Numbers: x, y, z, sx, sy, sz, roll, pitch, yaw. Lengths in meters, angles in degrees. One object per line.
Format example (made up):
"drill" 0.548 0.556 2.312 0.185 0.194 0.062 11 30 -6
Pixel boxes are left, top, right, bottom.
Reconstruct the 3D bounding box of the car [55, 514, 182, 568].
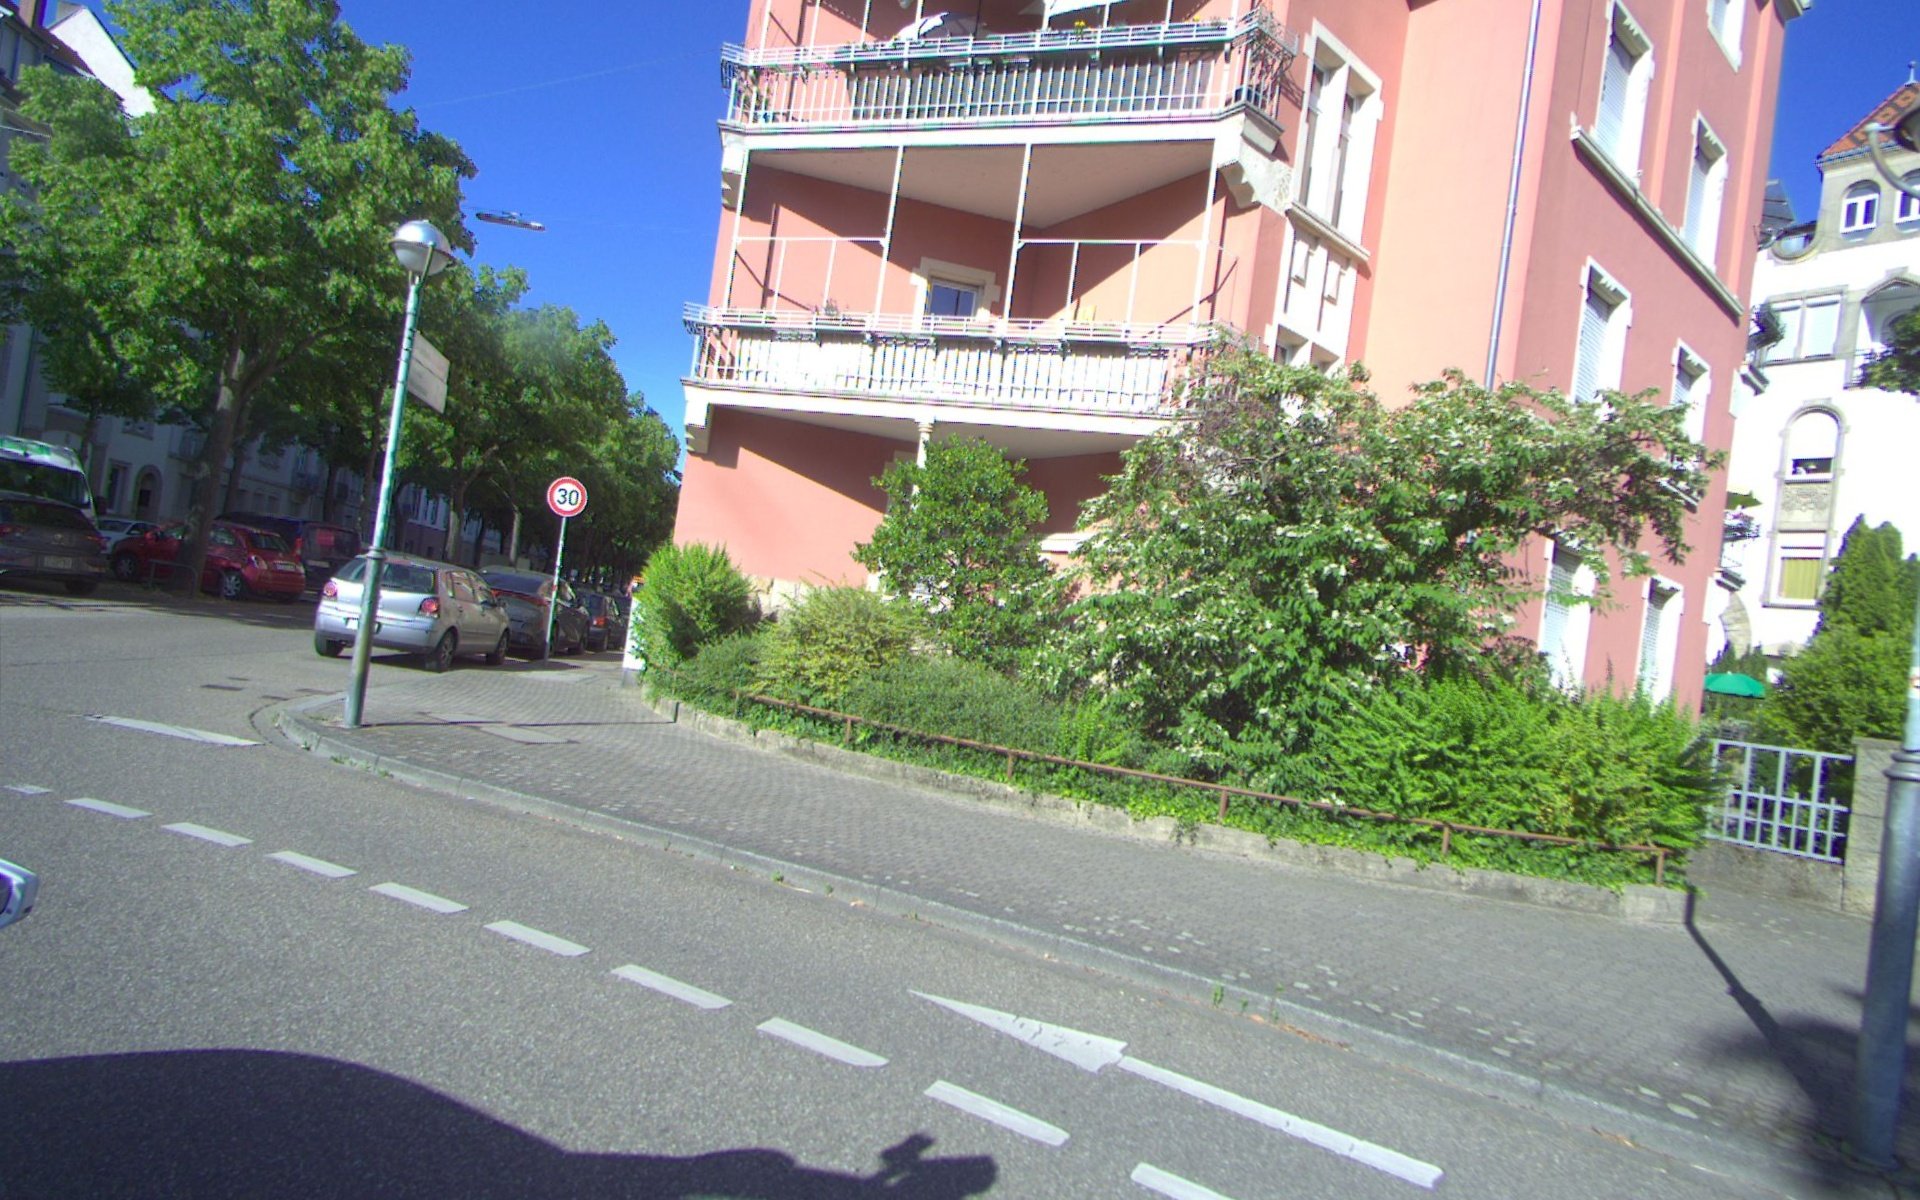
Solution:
"car" -29.366 -2.009 35.259 1.661 1.406 3.914 7 -2 -13

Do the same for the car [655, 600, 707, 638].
"car" -12.470 0.852 45.115 1.661 1.397 3.493 10 -2 -9

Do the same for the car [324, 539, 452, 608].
"car" -17.117 -0.795 30.077 3.326 1.486 1.688 8 -2 29

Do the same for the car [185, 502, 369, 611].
"car" -15.753 -0.997 23.233 3.321 1.886 1.690 9 -2 20

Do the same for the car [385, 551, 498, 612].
"car" -17.646 -0.630 34.221 3.326 1.486 1.688 8 -2 29

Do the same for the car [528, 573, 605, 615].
"car" -19.694 -0.309 50.346 3.326 1.486 1.688 8 -2 29

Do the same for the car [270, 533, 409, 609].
"car" -17.143 -0.802 27.785 3.326 1.486 1.688 8 -2 29

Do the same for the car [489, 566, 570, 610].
"car" -20.393 -0.553 47.644 3.326 1.486 1.688 8 -2 29

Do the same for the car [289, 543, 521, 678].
"car" -7.863 0.163 14.651 1.661 1.462 3.542 10 -2 -9

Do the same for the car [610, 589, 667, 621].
"car" -21.525 0.336 67.316 3.326 1.486 1.688 8 -2 29

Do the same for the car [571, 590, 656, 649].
"car" -10.212 0.567 29.882 1.661 1.397 3.277 10 -2 -9

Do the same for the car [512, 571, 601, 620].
"car" -17.284 -0.206 43.093 3.326 1.486 1.688 8 -2 29

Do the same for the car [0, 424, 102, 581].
"car" -19.761 -2.180 19.958 6.270 2.629 2.102 8 -2 32

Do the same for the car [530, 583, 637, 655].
"car" -9.221 0.465 24.880 1.661 1.397 3.277 10 -2 -9

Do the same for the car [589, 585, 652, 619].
"car" -20.717 0.134 61.329 3.326 1.486 1.688 8 -2 29

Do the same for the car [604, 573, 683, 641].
"car" -11.590 0.284 37.136 1.911 2.067 4.270 10 -2 -9

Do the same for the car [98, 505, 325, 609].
"car" -15.378 -0.849 20.771 3.321 1.462 1.690 9 -2 5

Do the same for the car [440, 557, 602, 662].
"car" -8.416 0.206 19.689 1.661 1.579 4.290 10 -2 -9

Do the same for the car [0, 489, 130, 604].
"car" -15.303 -1.028 15.634 3.848 1.462 1.691 9 -2 16

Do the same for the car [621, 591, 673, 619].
"car" -23.426 0.401 75.266 3.326 1.486 1.688 8 -2 29
